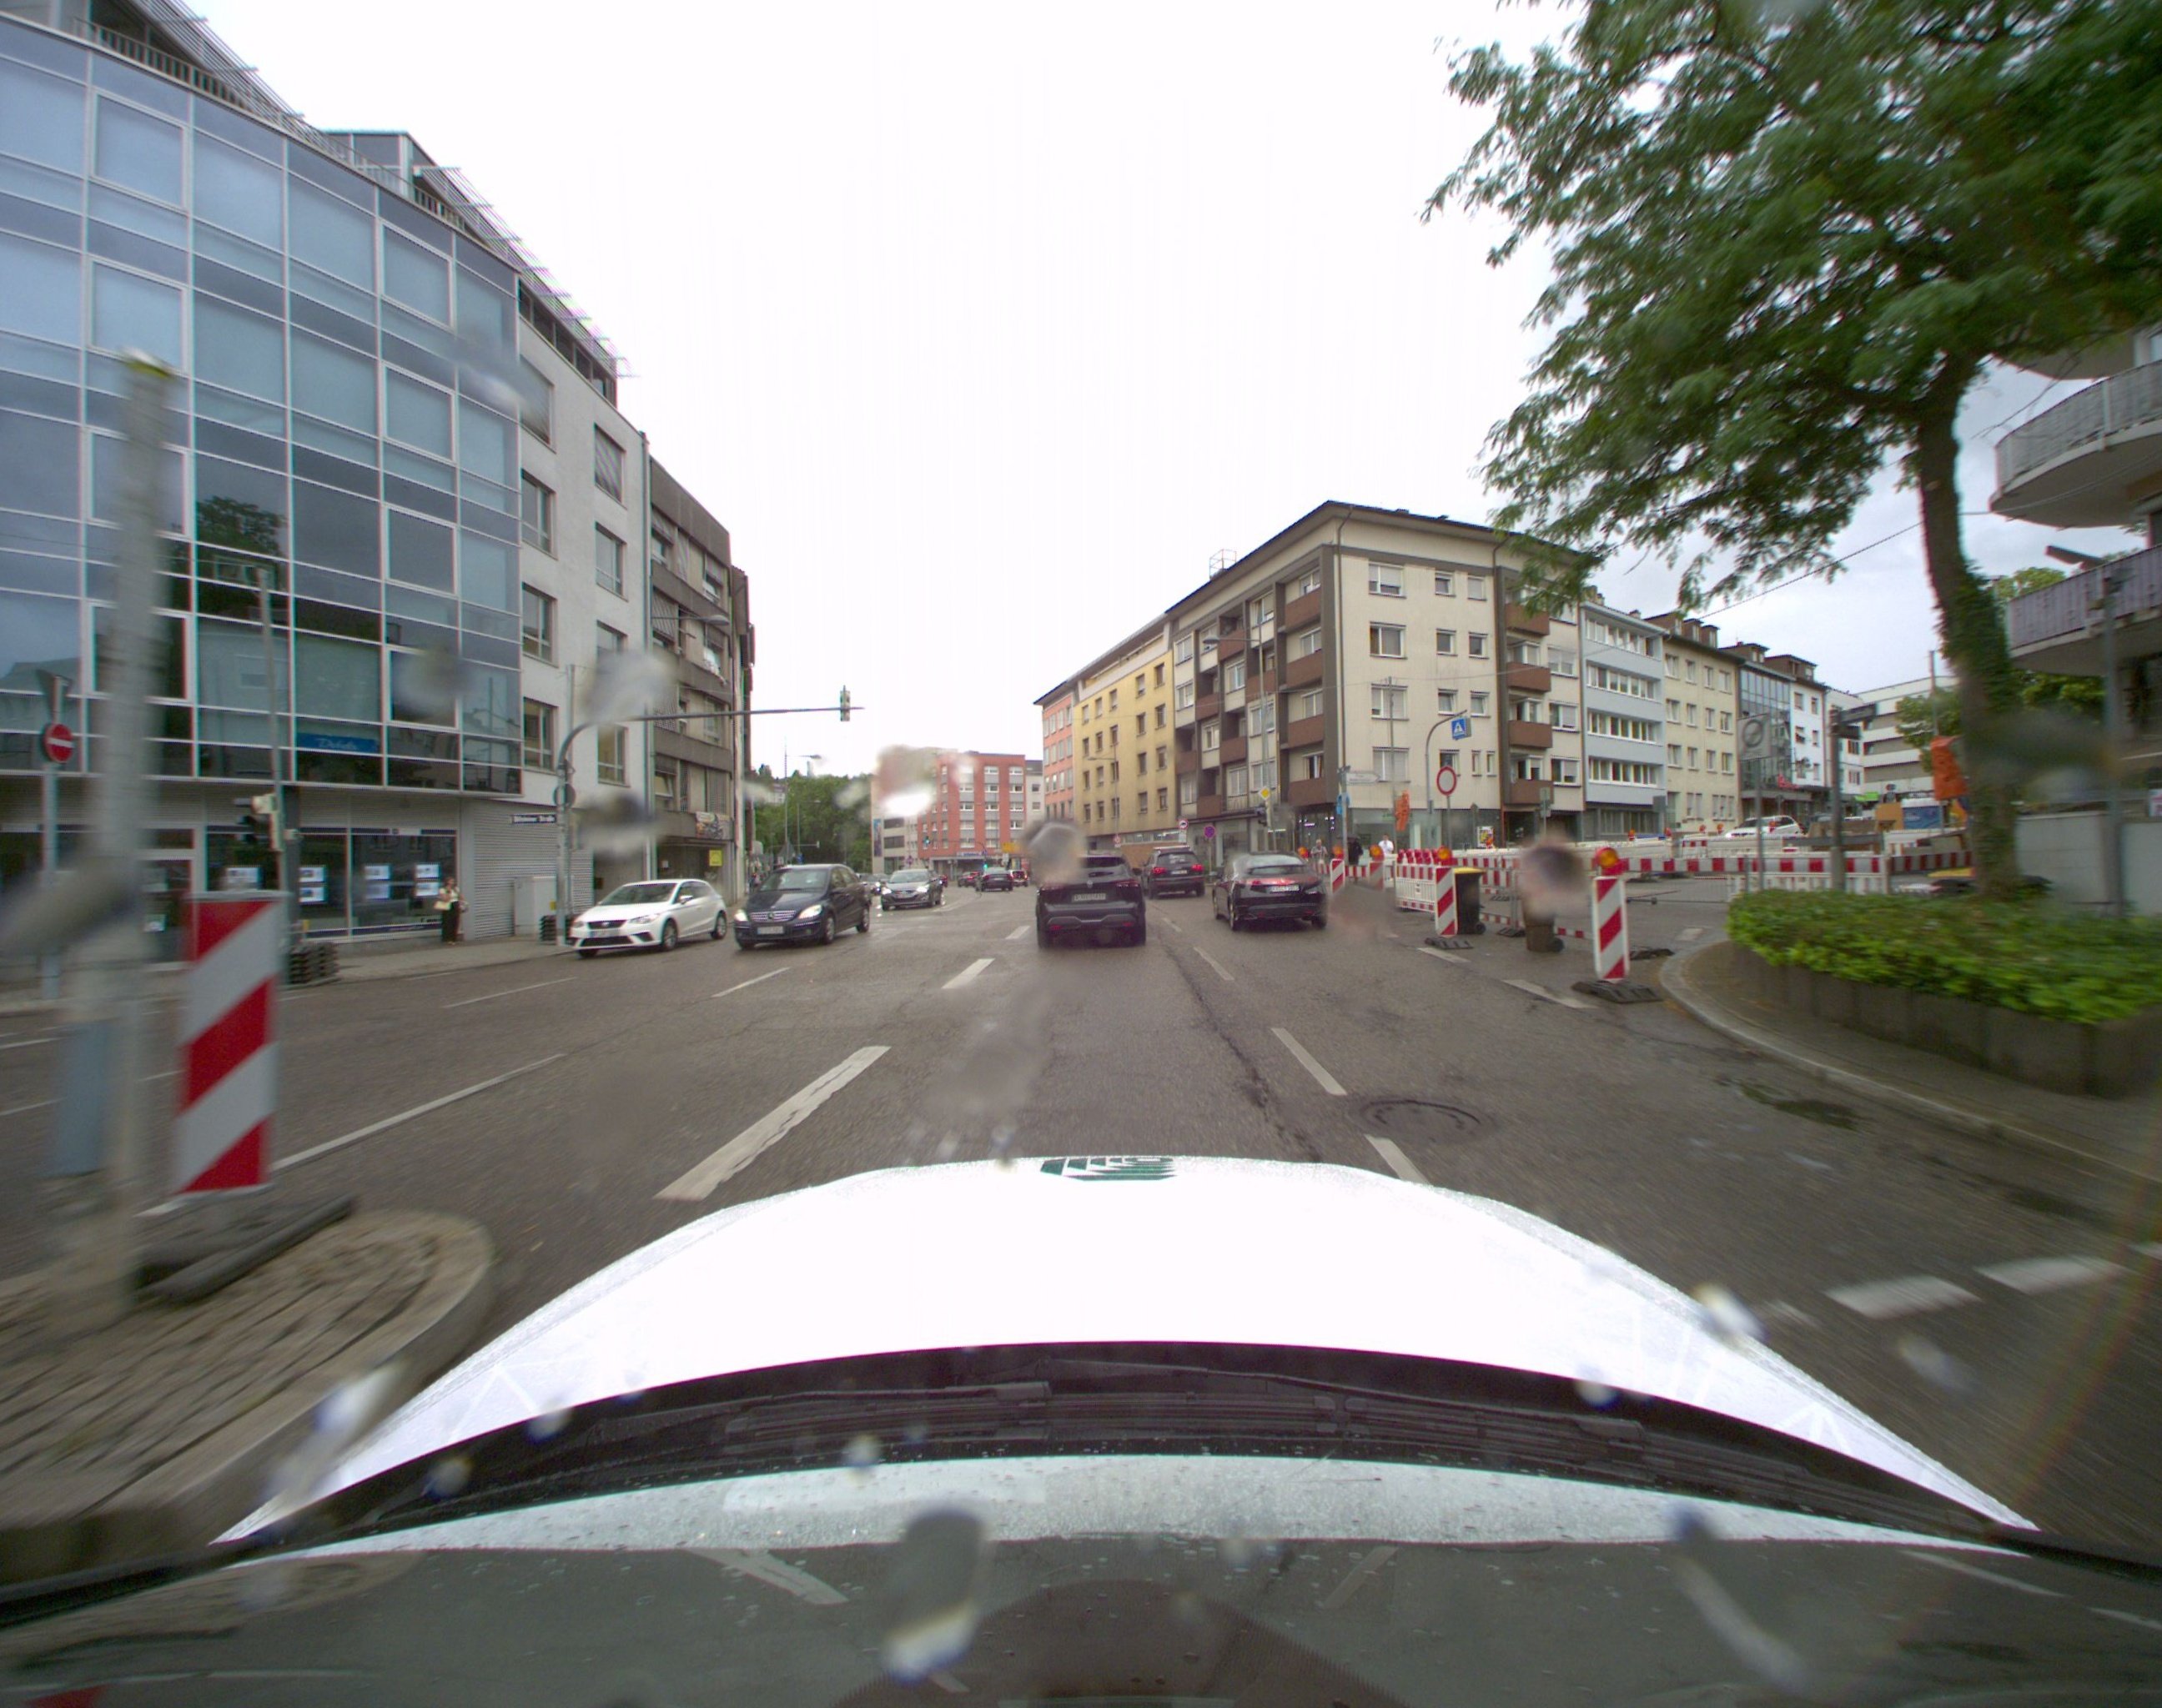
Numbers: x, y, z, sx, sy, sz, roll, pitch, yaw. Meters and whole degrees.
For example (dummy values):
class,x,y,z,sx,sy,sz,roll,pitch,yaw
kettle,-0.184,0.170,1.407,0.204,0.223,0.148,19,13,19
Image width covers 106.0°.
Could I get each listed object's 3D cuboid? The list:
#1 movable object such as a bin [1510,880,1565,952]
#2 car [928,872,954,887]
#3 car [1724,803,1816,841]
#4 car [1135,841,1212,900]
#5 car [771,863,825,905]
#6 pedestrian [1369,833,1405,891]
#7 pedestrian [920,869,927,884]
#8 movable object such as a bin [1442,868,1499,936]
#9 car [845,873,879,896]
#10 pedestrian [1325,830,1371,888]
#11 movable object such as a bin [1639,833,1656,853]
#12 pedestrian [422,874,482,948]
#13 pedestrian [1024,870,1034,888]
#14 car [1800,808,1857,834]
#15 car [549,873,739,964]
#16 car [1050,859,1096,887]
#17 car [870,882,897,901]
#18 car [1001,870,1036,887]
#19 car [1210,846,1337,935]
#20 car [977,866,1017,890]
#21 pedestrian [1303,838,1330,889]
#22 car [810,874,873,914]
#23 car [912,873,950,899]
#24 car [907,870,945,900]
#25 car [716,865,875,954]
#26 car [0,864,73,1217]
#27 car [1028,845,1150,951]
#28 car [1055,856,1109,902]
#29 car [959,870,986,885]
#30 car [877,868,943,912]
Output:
class,x,y,z,sx,sy,sz,roll,pitch,yaw
movable object such as a bin,6.303,0.848,11.249,0.418,0.929,0.531,-3,0,-1
car,-14.634,2.640,84.901,1.999,1.530,3.974,1,-2,-19
car,37.501,-1.750,44.309,4.808,1.720,1.983,-3,-1,-26
car,3.290,0.593,29.927,2.016,1.869,4.895,-3,-1,-2
car,-14.528,1.569,42.114,2.121,2.015,5.103,1,-3,-14
pedestrian,10.260,0.270,27.327,0.999,1.880,0.649,-1,-4,-44
pedestrian,-23.961,3.437,124.108,0.829,2.158,0.764,1,-2,-23
movable object such as a bin,6.288,0.761,13.170,0.619,1.031,0.531,-3,0,-2
car,-14.630,2.011,54.377,1.729,1.399,3.568,-3,-1,-21
pedestrian,9.034,0.175,27.543,0.924,1.861,1.019,-1,-4,-42
movable object such as a bin,29.971,-0.569,43.093,0.541,1.048,0.526,1,-2,-31
pedestrian,-14.298,1.287,18.535,0.619,1.608,0.836,-2,-1,20
pedestrian,-5.387,2.594,84.380,0.675,1.788,1.088,0,-2,-19
car,50.552,-2.246,55.080,4.016,1.603,1.907,-3,1,-34
car,-9.055,1.245,17.346,1.768,1.524,4.279,-3,0,-2
car,-0.627,1.377,57.709,1.953,1.816,3.972,-3,-1,-20
car,-17.072,3.238,70.170,1.690,1.473,3.971,-4,-1,-21
car,-5.529,2.139,71.912,2.001,1.486,3.972,1,-2,-21
car,3.691,0.617,16.308,1.776,1.496,4.060,-2,1,3
car,-5.103,1.428,48.923,1.994,1.388,4.482,1,-2,-11
pedestrian,8.182,0.334,28.372,0.786,1.688,0.824,-4,-3,15
car,-10.318,1.683,35.429,1.928,1.474,4.589,-4,-1,-9
car,-9.802,2.070,52.946,1.988,1.459,4.461,-3,-1,-16
car,-8.193,1.623,43.049,1.825,1.366,4.585,-3,-1,-11
car,-5.775,1.044,17.080,1.824,1.543,4.282,-2,-1,-1
car,-5.829,0.869,1.886,1.841,1.594,4.089,-3,-1,0
car,0.126,0.709,14.938,1.888,1.629,3.999,-2,0,0
car,-0.011,1.019,33.743,1.941,1.685,3.995,-3,-1,-3
car,-11.400,2.490,85.622,2.000,1.519,3.973,1,-2,-20
car,-6.422,1.310,31.006,1.850,1.474,4.639,-3,-1,-5
